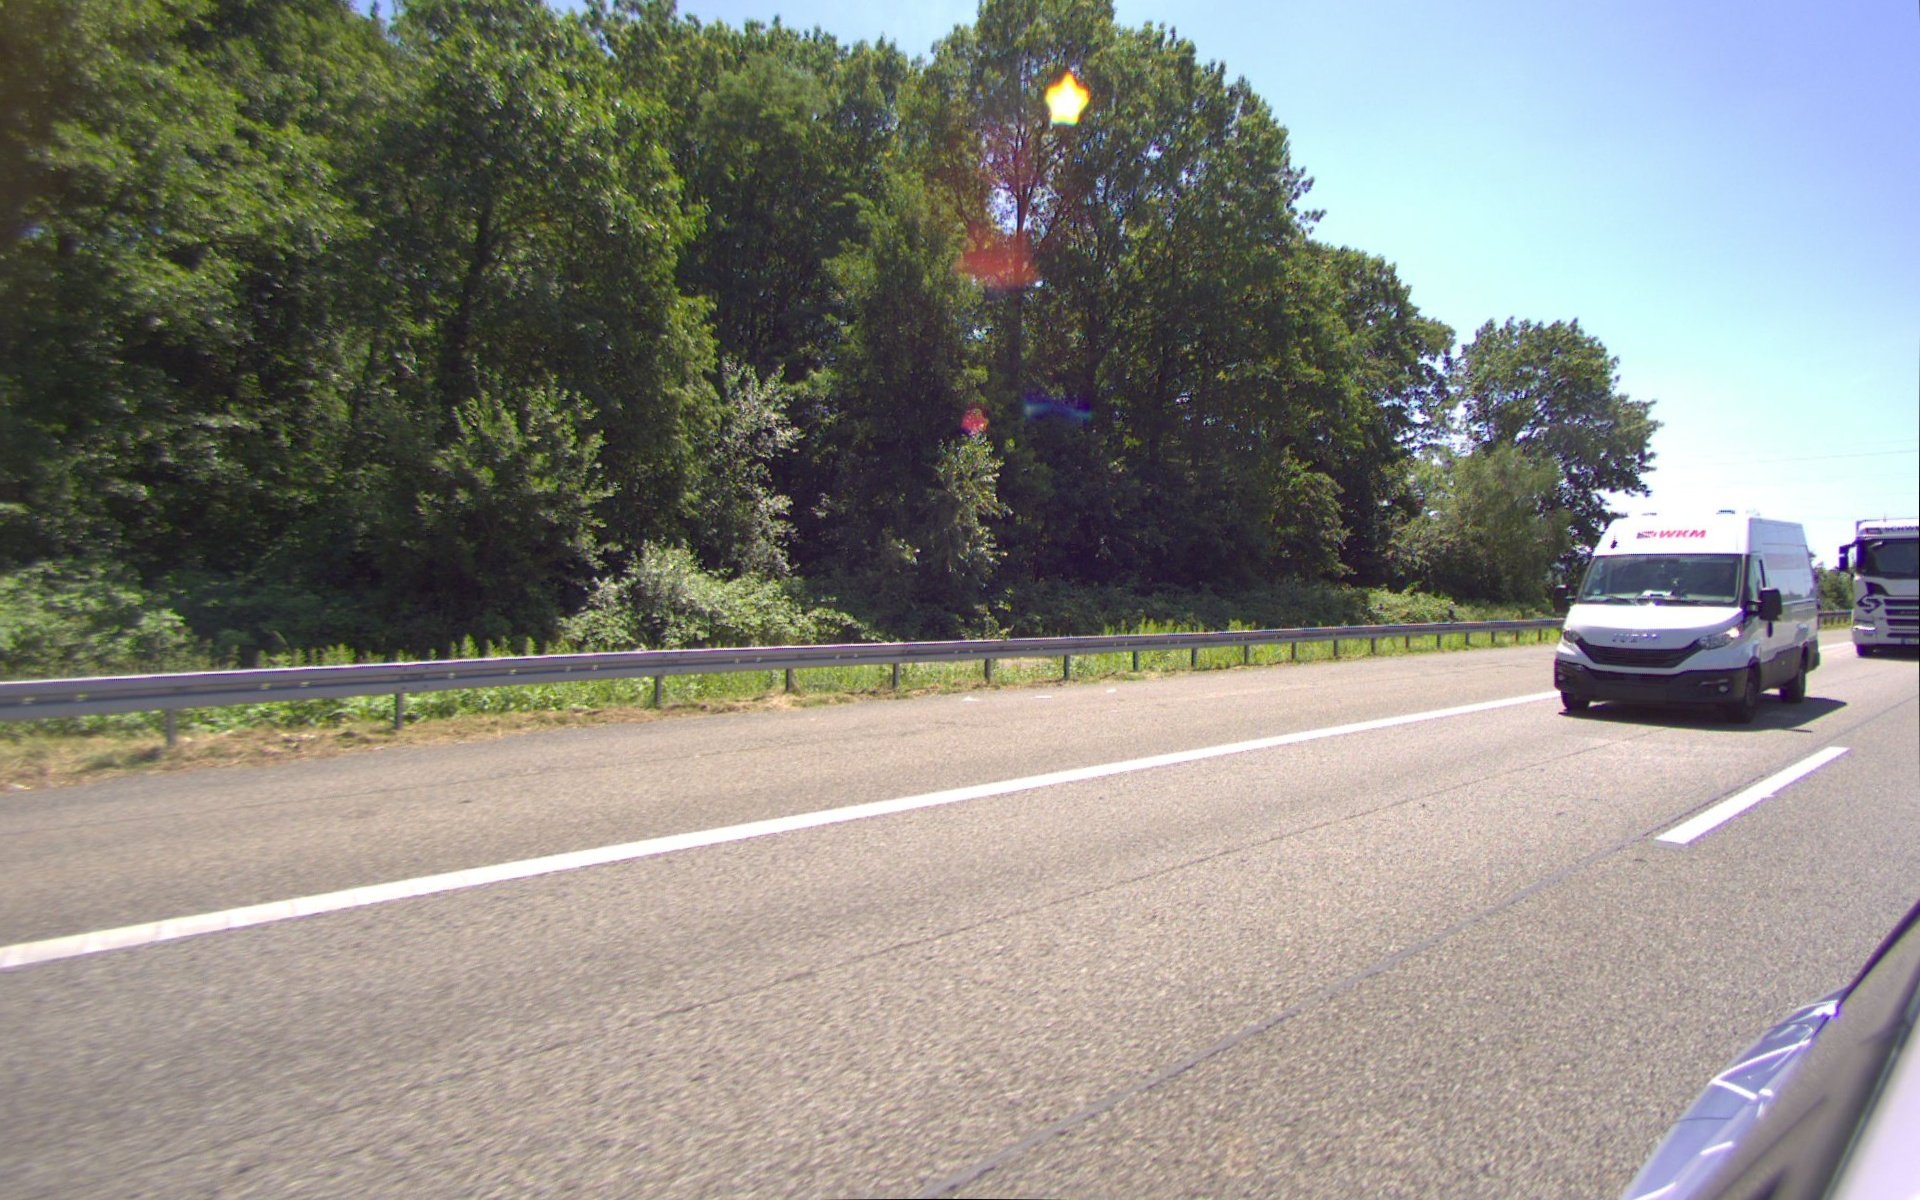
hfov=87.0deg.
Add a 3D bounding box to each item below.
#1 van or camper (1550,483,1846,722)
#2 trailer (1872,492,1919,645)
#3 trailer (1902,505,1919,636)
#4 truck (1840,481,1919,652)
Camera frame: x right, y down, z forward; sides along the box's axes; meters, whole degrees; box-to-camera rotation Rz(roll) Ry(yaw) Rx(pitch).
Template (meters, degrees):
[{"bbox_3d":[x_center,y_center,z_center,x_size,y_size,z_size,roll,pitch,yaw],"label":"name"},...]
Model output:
[{"bbox_3d":[10.542,0.004,14.190,6.374,2.671,2.025,0,0,-41],"label":"van or camper"},{"bbox_3d":[28.743,-0.876,29.085,7.190,4.092,2.924,-1,0,-41],"label":"trailer"},{"bbox_3d":[33.810,-0.956,33.585,7.987,4.114,2.950,-1,0,-41],"label":"trailer"},{"bbox_3d":[25.401,-0.830,26.277,6.749,4.081,2.894,-1,0,-41],"label":"truck"}]
